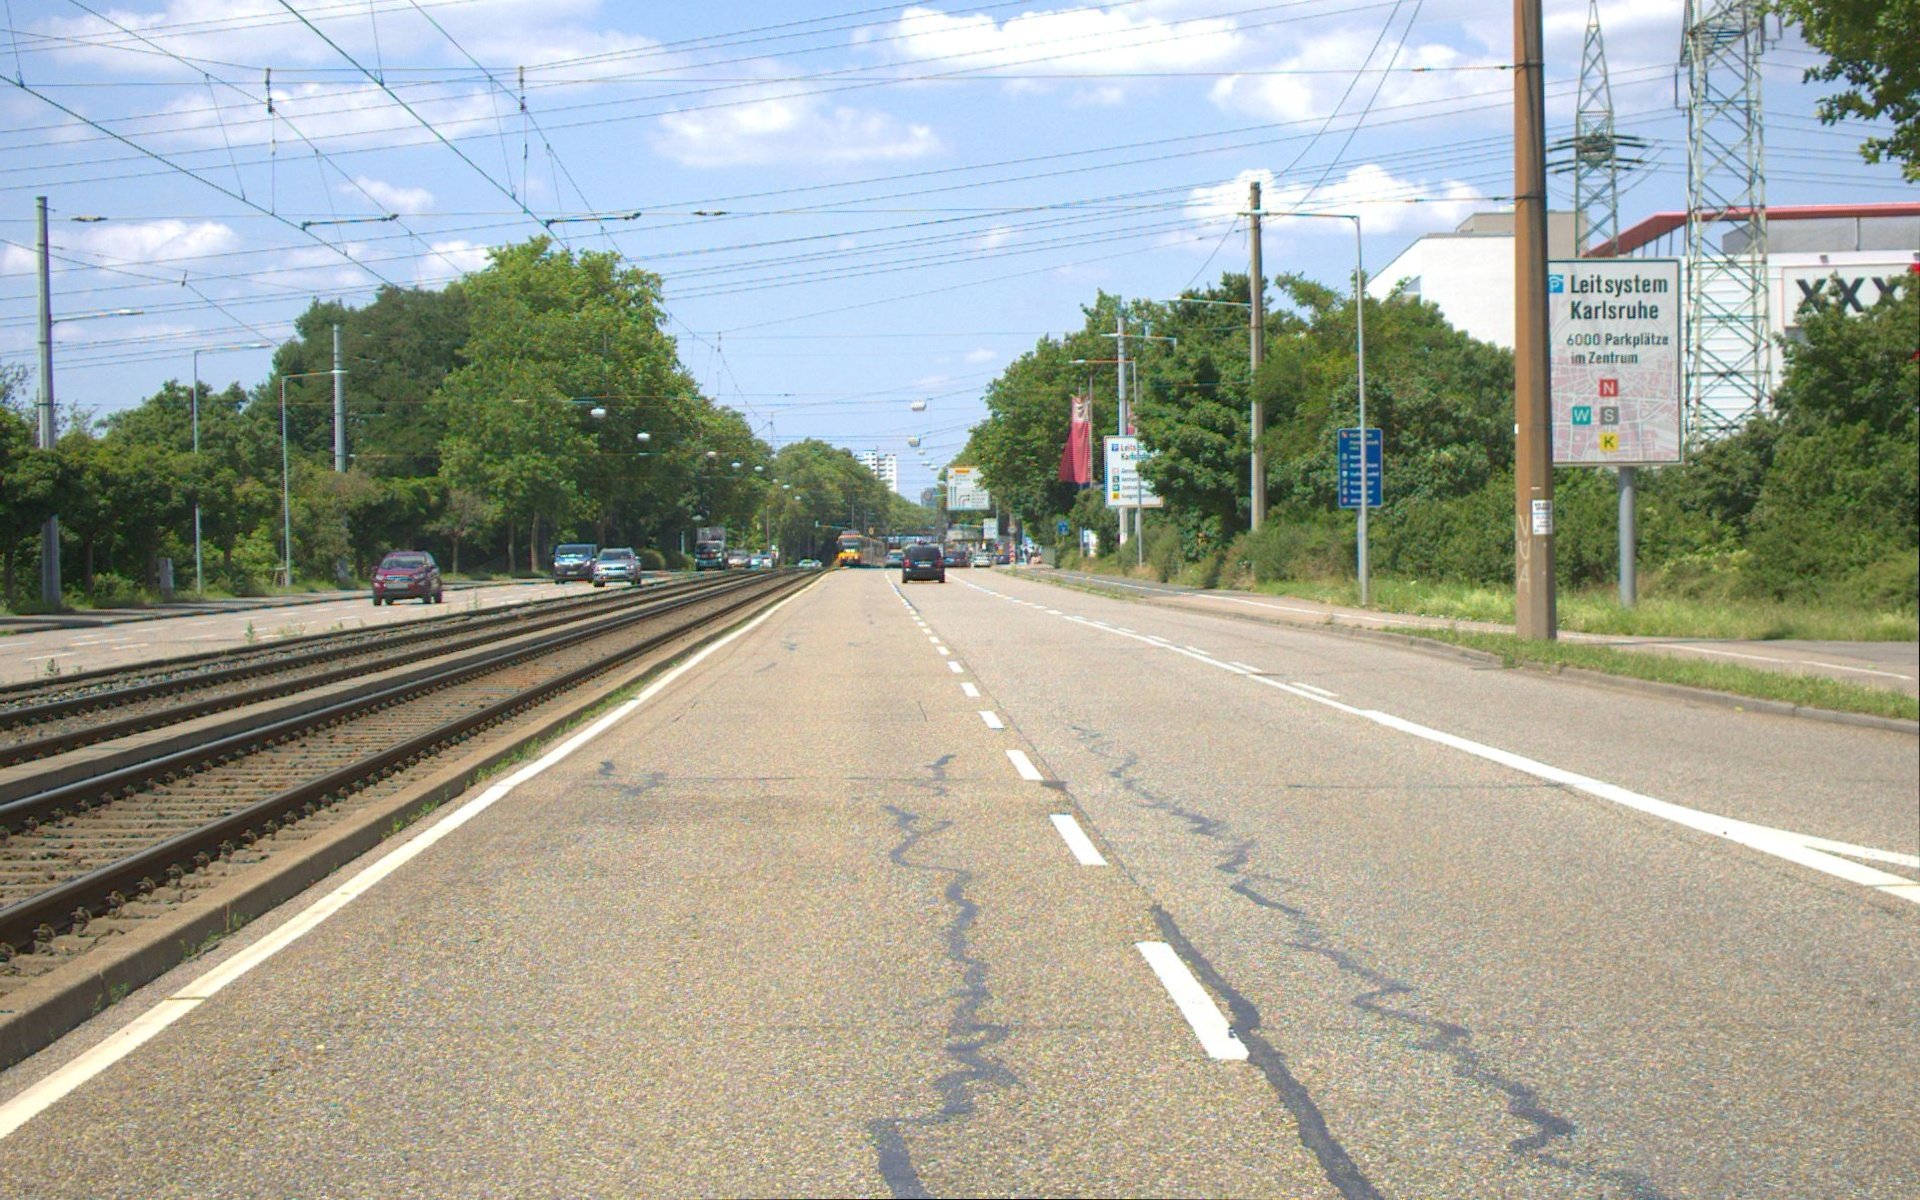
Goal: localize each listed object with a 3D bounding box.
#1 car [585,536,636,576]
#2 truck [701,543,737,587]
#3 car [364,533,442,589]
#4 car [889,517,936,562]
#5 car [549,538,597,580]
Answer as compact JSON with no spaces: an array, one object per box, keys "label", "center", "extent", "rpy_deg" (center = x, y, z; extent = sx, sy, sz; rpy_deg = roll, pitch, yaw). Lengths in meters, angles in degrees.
[{"label":"car","center":[-14.861,-1.892,146.307],"extent":[1.801,1.619,4.495],"rpy_deg":[-2,1,-2]},{"label":"truck","center":[-18.222,-2.666,259.831],"extent":[2.250,3.225,6.042],"rpy_deg":[-1,1,0]},{"label":"car","center":[-17.366,-1.230,107.299],"extent":[1.801,1.619,4.212],"rpy_deg":[-2,1,-2]},{"label":"car","center":[-1.990,-2.498,143.236],"extent":[1.899,1.799,3.977],"rpy_deg":[1,1,-2]},{"label":"car","center":[-18.944,-2.020,168.310],"extent":[1.857,1.921,5.008],"rpy_deg":[-2,1,-2]}]
